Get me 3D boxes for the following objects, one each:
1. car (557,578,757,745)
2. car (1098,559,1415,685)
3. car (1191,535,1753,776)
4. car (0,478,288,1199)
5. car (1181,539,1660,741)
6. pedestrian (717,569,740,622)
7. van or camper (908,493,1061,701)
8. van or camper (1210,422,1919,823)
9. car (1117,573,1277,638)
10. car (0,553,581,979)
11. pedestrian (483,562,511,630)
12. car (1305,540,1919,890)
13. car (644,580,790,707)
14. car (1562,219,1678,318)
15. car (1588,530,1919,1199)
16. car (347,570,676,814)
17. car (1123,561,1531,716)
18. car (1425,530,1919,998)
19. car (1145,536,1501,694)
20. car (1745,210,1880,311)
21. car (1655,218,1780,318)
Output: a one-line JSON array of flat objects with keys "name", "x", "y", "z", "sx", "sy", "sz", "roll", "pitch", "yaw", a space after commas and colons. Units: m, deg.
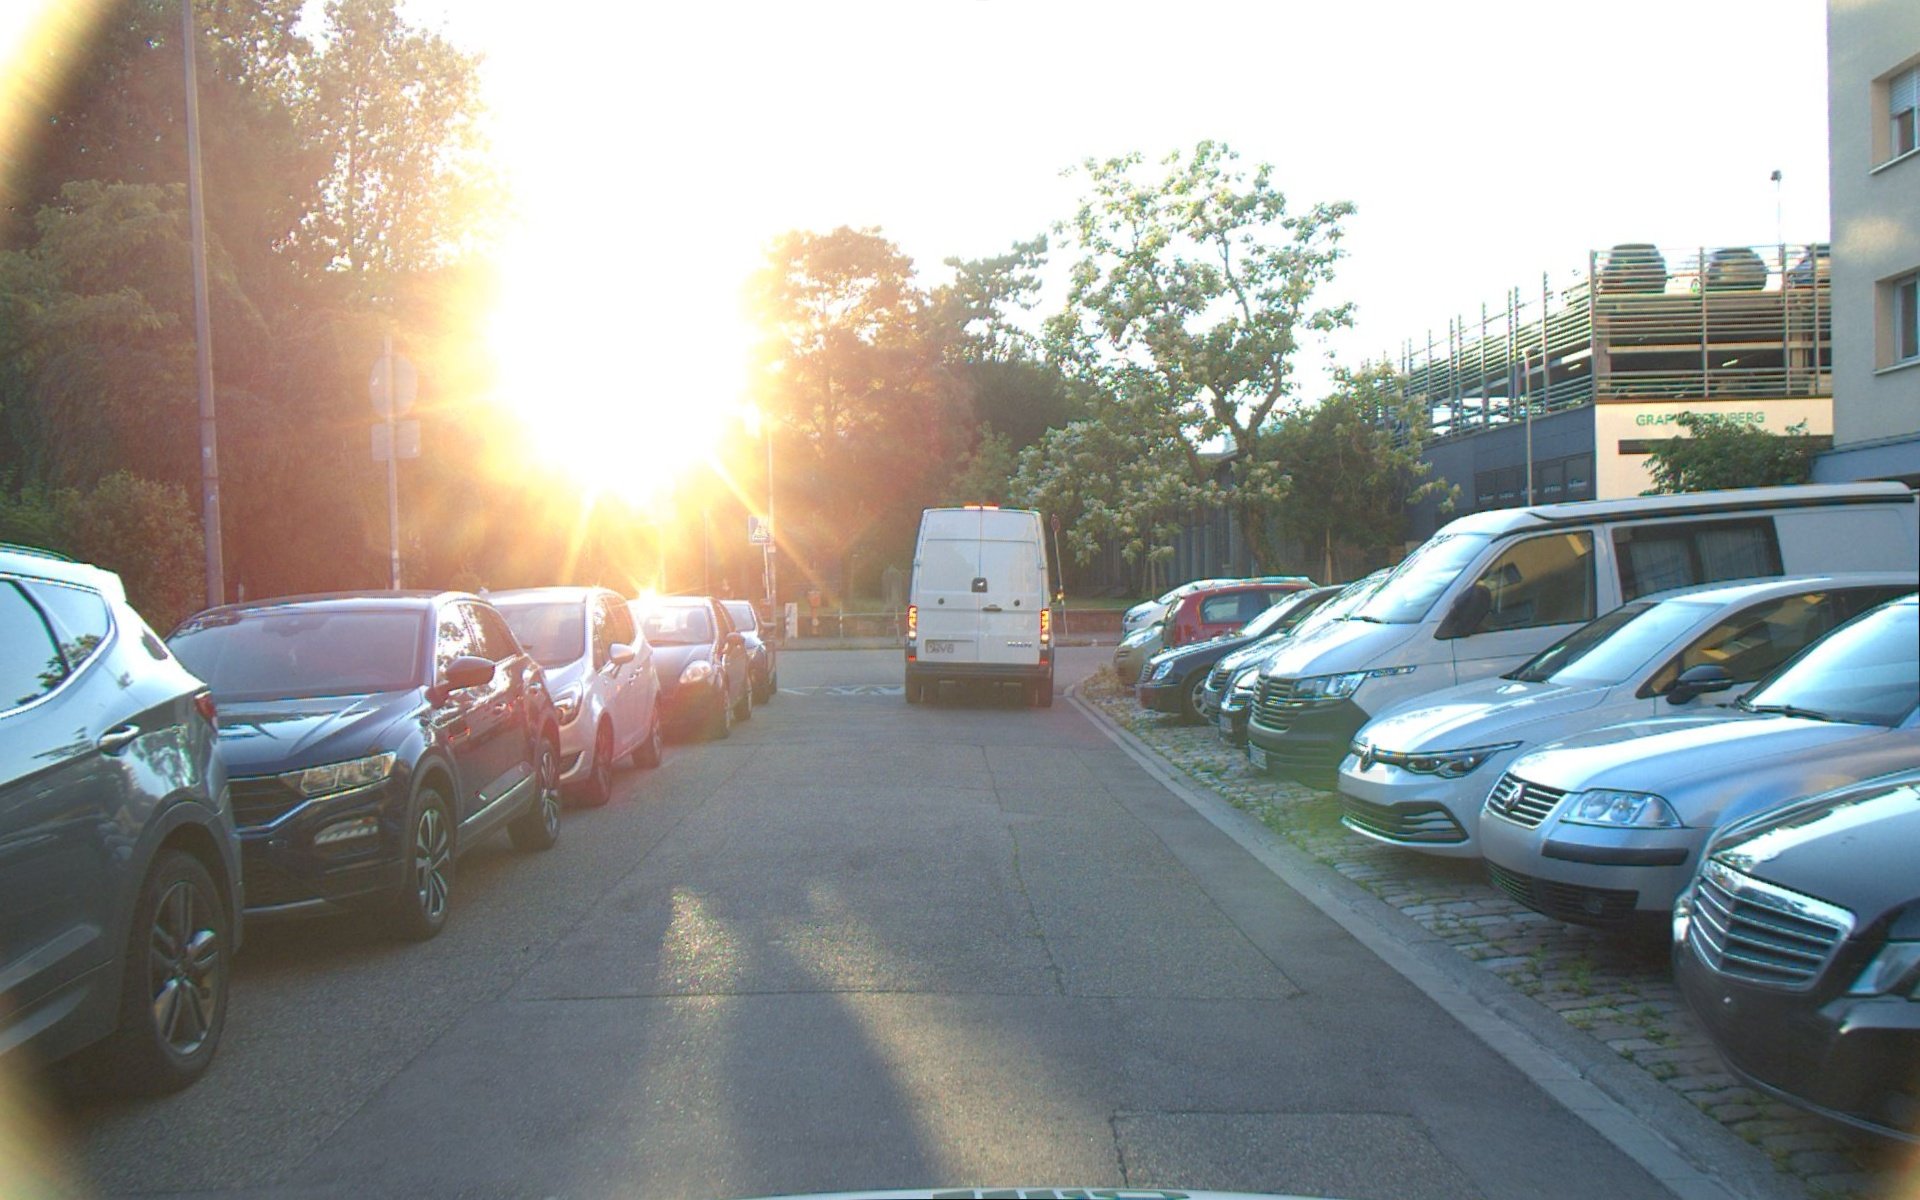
[{"name": "car", "x": -3.262, "y": 0.592, "z": 18.433, "sx": 1.699, "sy": 1.594, "sz": 3.695, "roll": -2, "pitch": 1, "yaw": -4}, {"name": "car", "x": 4.365, "y": 0.332, "z": 24.790, "sx": 4.316, "sy": 1.660, "sz": 1.844, "roll": -2, "pitch": -1, "yaw": -3}, {"name": "car", "x": 4.329, "y": 0.460, "z": 14.398, "sx": 4.240, "sy": 1.690, "sz": 1.780, "roll": -4, "pitch": -1, "yaw": -3}, {"name": "car", "x": -3.106, "y": 0.626, "z": 3.585, "sx": 1.699, "sy": 1.760, "sz": 4.320, "roll": -2, "pitch": 1, "yaw": -4}, {"name": "car", "x": 4.625, "y": 0.399, "z": 17.042, "sx": 4.317, "sy": 1.690, "sz": 1.844, "roll": -4, "pitch": -1, "yaw": -3}, {"name": "pedestrian", "x": -7.461, "y": -0.141, "z": 53.397, "sx": 0.633, "sy": 1.677, "sz": 0.674, "roll": 1, "pitch": 1, "yaw": -1}, {"name": "van or camper", "x": 0.268, "y": -0.079, "z": 24.427, "sx": 1.953, "sy": 2.664, "sz": 6.402, "roll": 0, "pitch": 1, "yaw": -1}, {"name": "van or camper", "x": 4.498, "y": 0.094, "z": 11.517, "sx": 5.032, "sy": 2.205, "sz": 2.039, "roll": -5, "pitch": 0, "yaw": -3}, {"name": "car", "x": 6.053, "y": 0.116, "z": 42.556, "sx": 3.777, "sy": 1.601, "sz": 1.957, "roll": 0, "pitch": 1, "yaw": -3}, {"name": "car", "x": -3.195, "y": 0.615, "z": 8.546, "sx": 1.699, "sy": 1.594, "sz": 4.165, "roll": -2, "pitch": 1, "yaw": -4}, {"name": "pedestrian", "x": -12.713, "y": -0.117, "z": 45.391, "sx": 0.581, "sy": 1.840, "sz": 0.621, "roll": 0, "pitch": 1, "yaw": 0}, {"name": "car", "x": 4.330, "y": 0.565, "z": 9.338, "sx": 4.314, "sy": 1.660, "sz": 1.845, "roll": -2, "pitch": -1, "yaw": -2}, {"name": "car", "x": -3.400, "y": 0.547, "z": 23.751, "sx": 1.699, "sy": 1.594, "sz": 3.788, "roll": -2, "pitch": 1, "yaw": -4}, {"name": "car", "x": 18.715, "y": -9.378, "z": 47.096, "sx": 1.951, "sy": 2.049, "sz": 4.002, "roll": 0, "pitch": 0, "yaw": 4}, {"name": "car", "x": 4.219, "y": 0.577, "z": 4.443, "sx": 4.314, "sy": 1.590, "sz": 1.845, "roll": -2, "pitch": -1, "yaw": -2}, {"name": "car", "x": -3.409, "y": 0.592, "z": 13.344, "sx": 1.699, "sy": 1.594, "sz": 4.127, "roll": -2, "pitch": 1, "yaw": -4}, {"name": "car", "x": 4.222, "y": 0.442, "z": 19.495, "sx": 4.316, "sy": 1.558, "sz": 1.844, "roll": -2, "pitch": -1, "yaw": -3}, {"name": "car", "x": 4.382, "y": 0.538, "z": 6.888, "sx": 4.314, "sy": 1.620, "sz": 1.845, "roll": -2, "pitch": -1, "yaw": -2}, {"name": "car", "x": 4.781, "y": 0.182, "z": 22.252, "sx": 4.314, "sy": 1.659, "sz": 1.846, "roll": -5, "pitch": 0, "yaw": 1}, {"name": "car", "x": 23.914, "y": -9.489, "z": 46.553, "sx": 1.951, "sy": 2.049, "sz": 4.002, "roll": 0, "pitch": 0, "yaw": 4}, {"name": "car", "x": 21.352, "y": -9.332, "z": 46.810, "sx": 1.951, "sy": 2.049, "sz": 4.002, "roll": 0, "pitch": 0, "yaw": 4}]
